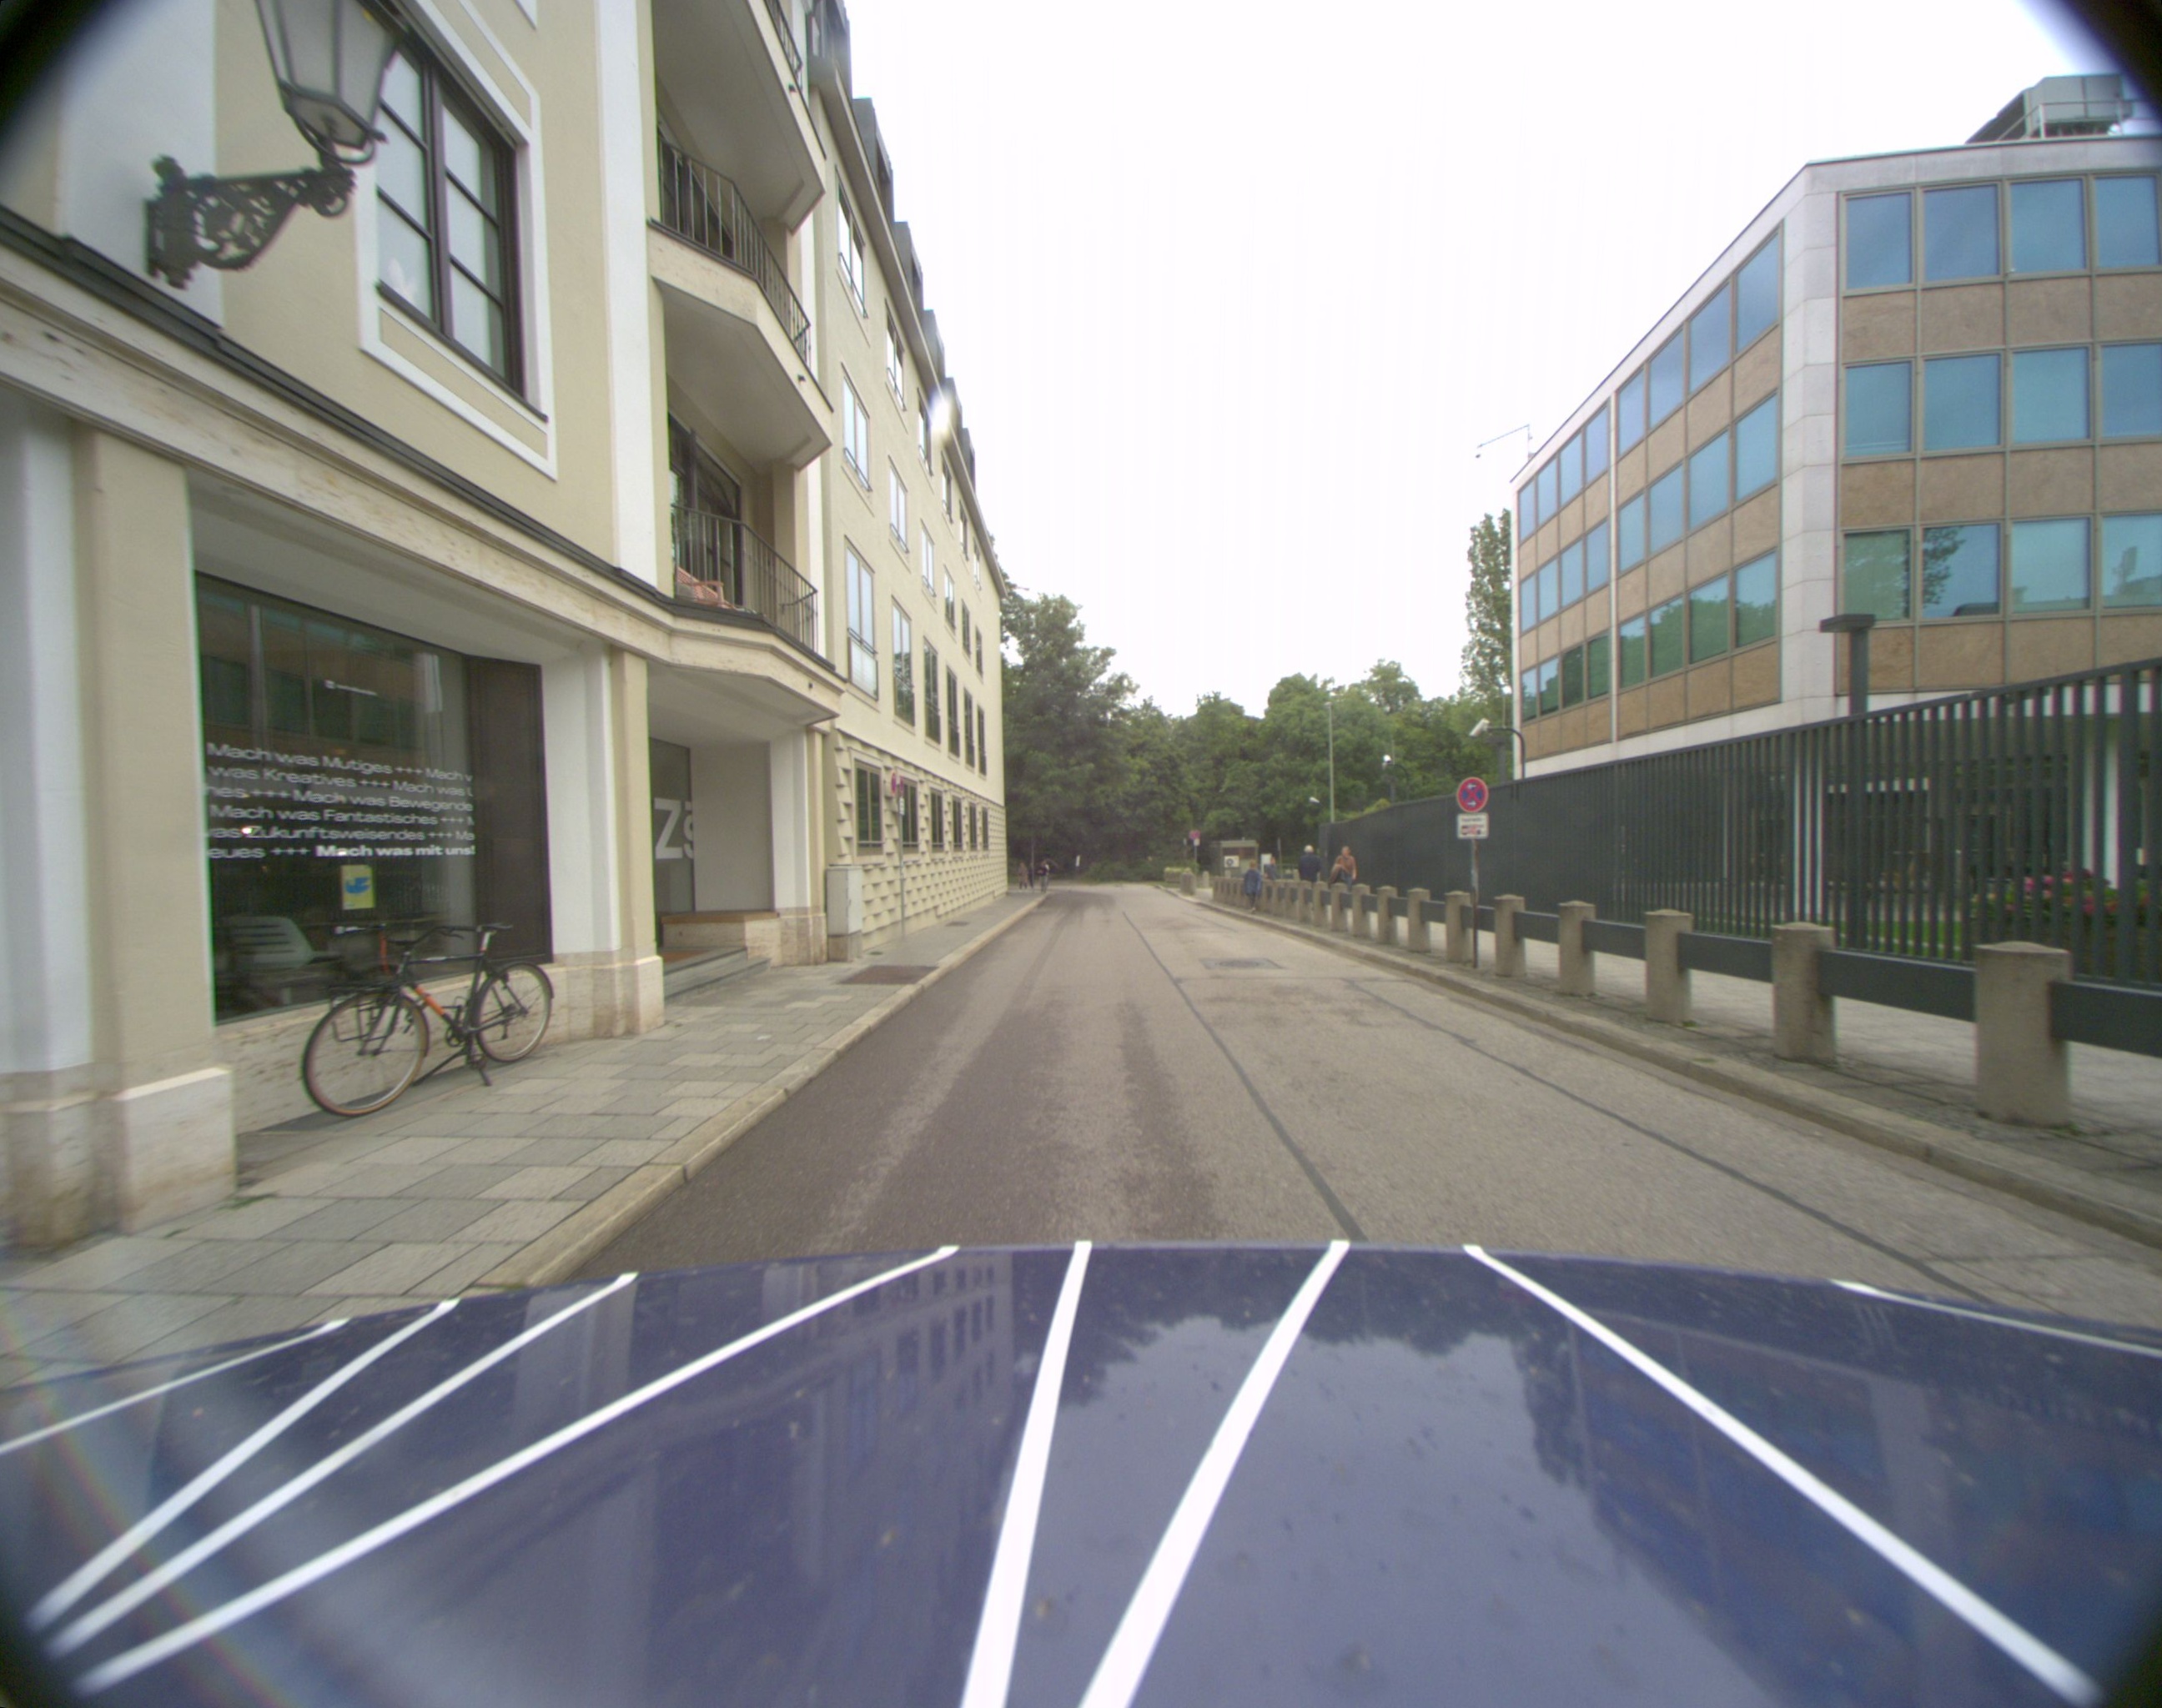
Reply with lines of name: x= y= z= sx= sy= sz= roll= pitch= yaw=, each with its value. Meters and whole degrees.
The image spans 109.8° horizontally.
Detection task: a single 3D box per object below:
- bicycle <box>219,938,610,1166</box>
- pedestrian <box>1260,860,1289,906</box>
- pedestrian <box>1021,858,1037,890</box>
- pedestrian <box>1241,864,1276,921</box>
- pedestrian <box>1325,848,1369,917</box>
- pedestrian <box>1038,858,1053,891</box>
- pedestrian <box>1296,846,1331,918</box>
bicycle: x=-4.143 y=1.145 z=5.010 sx=0.464 sy=0.988 sz=2.081 roll=0 pitch=-1 yaw=11
pedestrian: x=6.665 y=0.991 z=26.211 sx=0.778 sy=1.531 sz=0.933 roll=-3 pitch=0 yaw=9
pedestrian: x=-2.728 y=1.057 z=39.996 sx=0.753 sy=1.671 sz=0.656 roll=-1 pitch=0 yaw=0
pedestrian: x=4.736 y=1.020 z=20.374 sx=0.640 sy=1.458 sz=1.079 roll=-3 pitch=0 yaw=1
pedestrian: x=6.913 y=0.721 z=19.804 sx=0.826 sy=1.713 sz=0.906 roll=-3 pitch=0 yaw=6
pedestrian: x=-1.878 y=1.065 z=40.550 sx=0.753 sy=1.725 sz=0.853 roll=-1 pitch=0 yaw=-1
pedestrian: x=5.856 y=0.695 z=19.201 sx=0.625 sy=1.758 sz=0.766 roll=-1 pitch=0 yaw=0
